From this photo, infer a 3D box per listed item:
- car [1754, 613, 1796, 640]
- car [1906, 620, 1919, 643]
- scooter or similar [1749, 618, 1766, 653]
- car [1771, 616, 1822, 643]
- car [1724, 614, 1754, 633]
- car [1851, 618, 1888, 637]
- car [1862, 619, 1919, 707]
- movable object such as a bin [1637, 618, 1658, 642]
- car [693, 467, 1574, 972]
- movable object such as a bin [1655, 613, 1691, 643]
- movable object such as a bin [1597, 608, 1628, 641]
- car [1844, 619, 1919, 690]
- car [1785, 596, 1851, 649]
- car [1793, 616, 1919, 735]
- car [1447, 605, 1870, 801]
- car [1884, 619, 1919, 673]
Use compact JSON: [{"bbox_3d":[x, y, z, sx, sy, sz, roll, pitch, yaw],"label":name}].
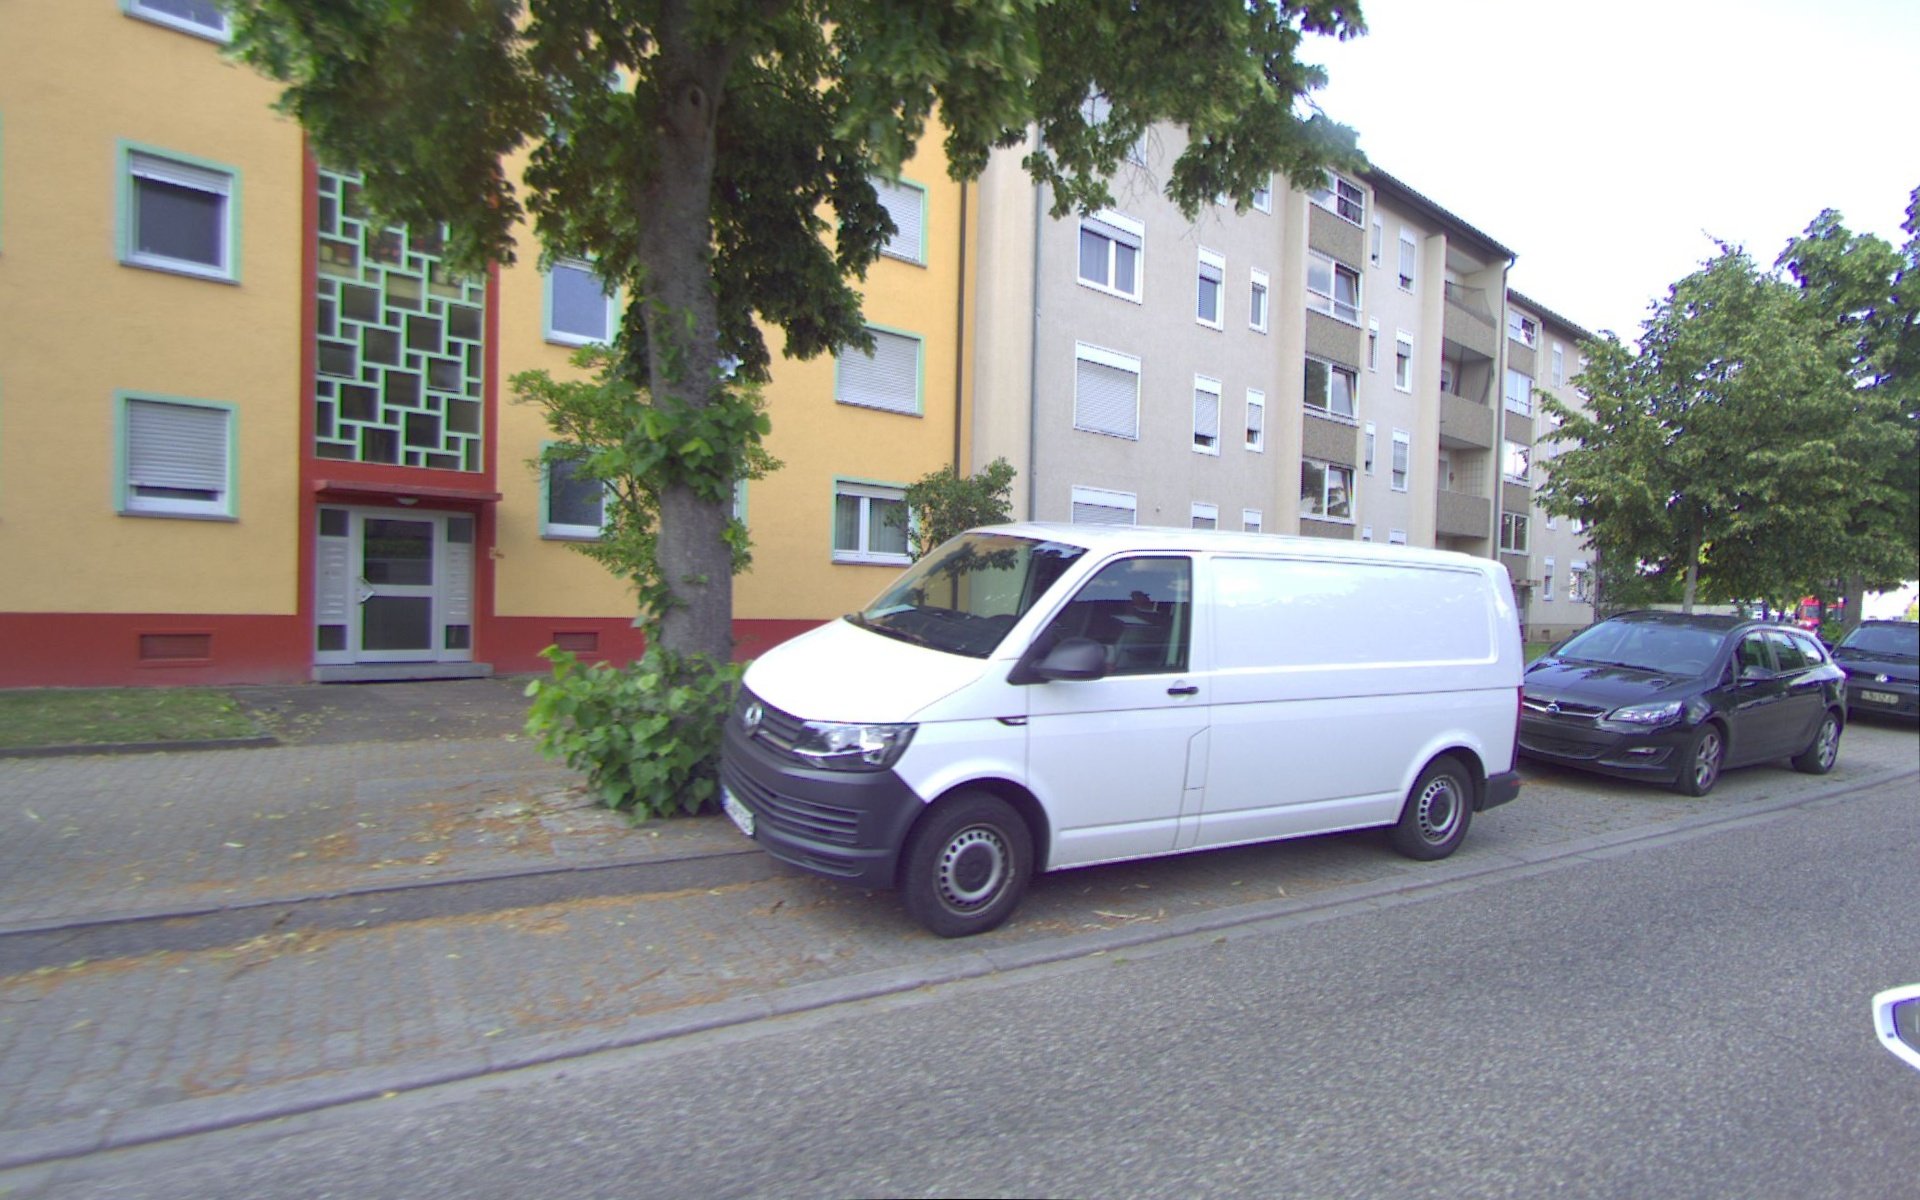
[{"bbox_3d":[59.351,1.908,73.205,1.762,1.769,4.424,6,3,33],"label":"car"},{"bbox_3d":[67.739,2.238,70.140,1.770,1.544,3.961,2,0,34],"label":"car"},{"bbox_3d":[28.314,1.259,35.658,0.414,1.181,1.135,3,2,39],"label":"scooter or similar"},{"bbox_3d":[52.284,1.833,62.864,1.762,1.477,4.424,6,3,33],"label":"car"},{"bbox_3d":[74.894,2.202,96.610,1.762,1.622,4.424,6,3,33],"label":"car"},{"bbox_3d":[81.242,2.451,89.766,1.770,1.544,4.518,2,0,34],"label":"car"},{"bbox_3d":[18.721,1.219,19.182,4.538,1.509,1.744,2,1,-43],"label":"car"},{"bbox_3d":[31.785,1.368,46.455,0.871,1.038,0.619,-4,3,-43],"label":"movable object such as a bin"},{"bbox_3d":[1.249,0.491,6.137,5.257,2.036,1.871,1,2,-29],"label":"car"},{"bbox_3d":[32.462,1.257,45.711,0.871,1.292,1.181,-4,3,-42],"label":"movable object such as a bin"},{"bbox_3d":[30.585,1.144,47.074,1.180,1.458,1.366,0,3,35],"label":"movable object such as a bin"},{"bbox_3d":[22.021,1.241,23.219,4.060,1.458,1.820,1,3,-42],"label":"car"},{"bbox_3d":[46.190,1.171,54.191,2.037,2.534,5.819,7,3,36],"label":"car"},{"bbox_3d":[14.135,1.062,15.148,4.001,1.509,1.745,1,2,-41],"label":"car"},{"bbox_3d":[6.957,0.866,9.881,4.453,1.509,1.751,1,1,-31],"label":"car"},{"bbox_3d":[29.889,1.419,30.985,1.739,1.509,4.323,4,2,40],"label":"car"}]
